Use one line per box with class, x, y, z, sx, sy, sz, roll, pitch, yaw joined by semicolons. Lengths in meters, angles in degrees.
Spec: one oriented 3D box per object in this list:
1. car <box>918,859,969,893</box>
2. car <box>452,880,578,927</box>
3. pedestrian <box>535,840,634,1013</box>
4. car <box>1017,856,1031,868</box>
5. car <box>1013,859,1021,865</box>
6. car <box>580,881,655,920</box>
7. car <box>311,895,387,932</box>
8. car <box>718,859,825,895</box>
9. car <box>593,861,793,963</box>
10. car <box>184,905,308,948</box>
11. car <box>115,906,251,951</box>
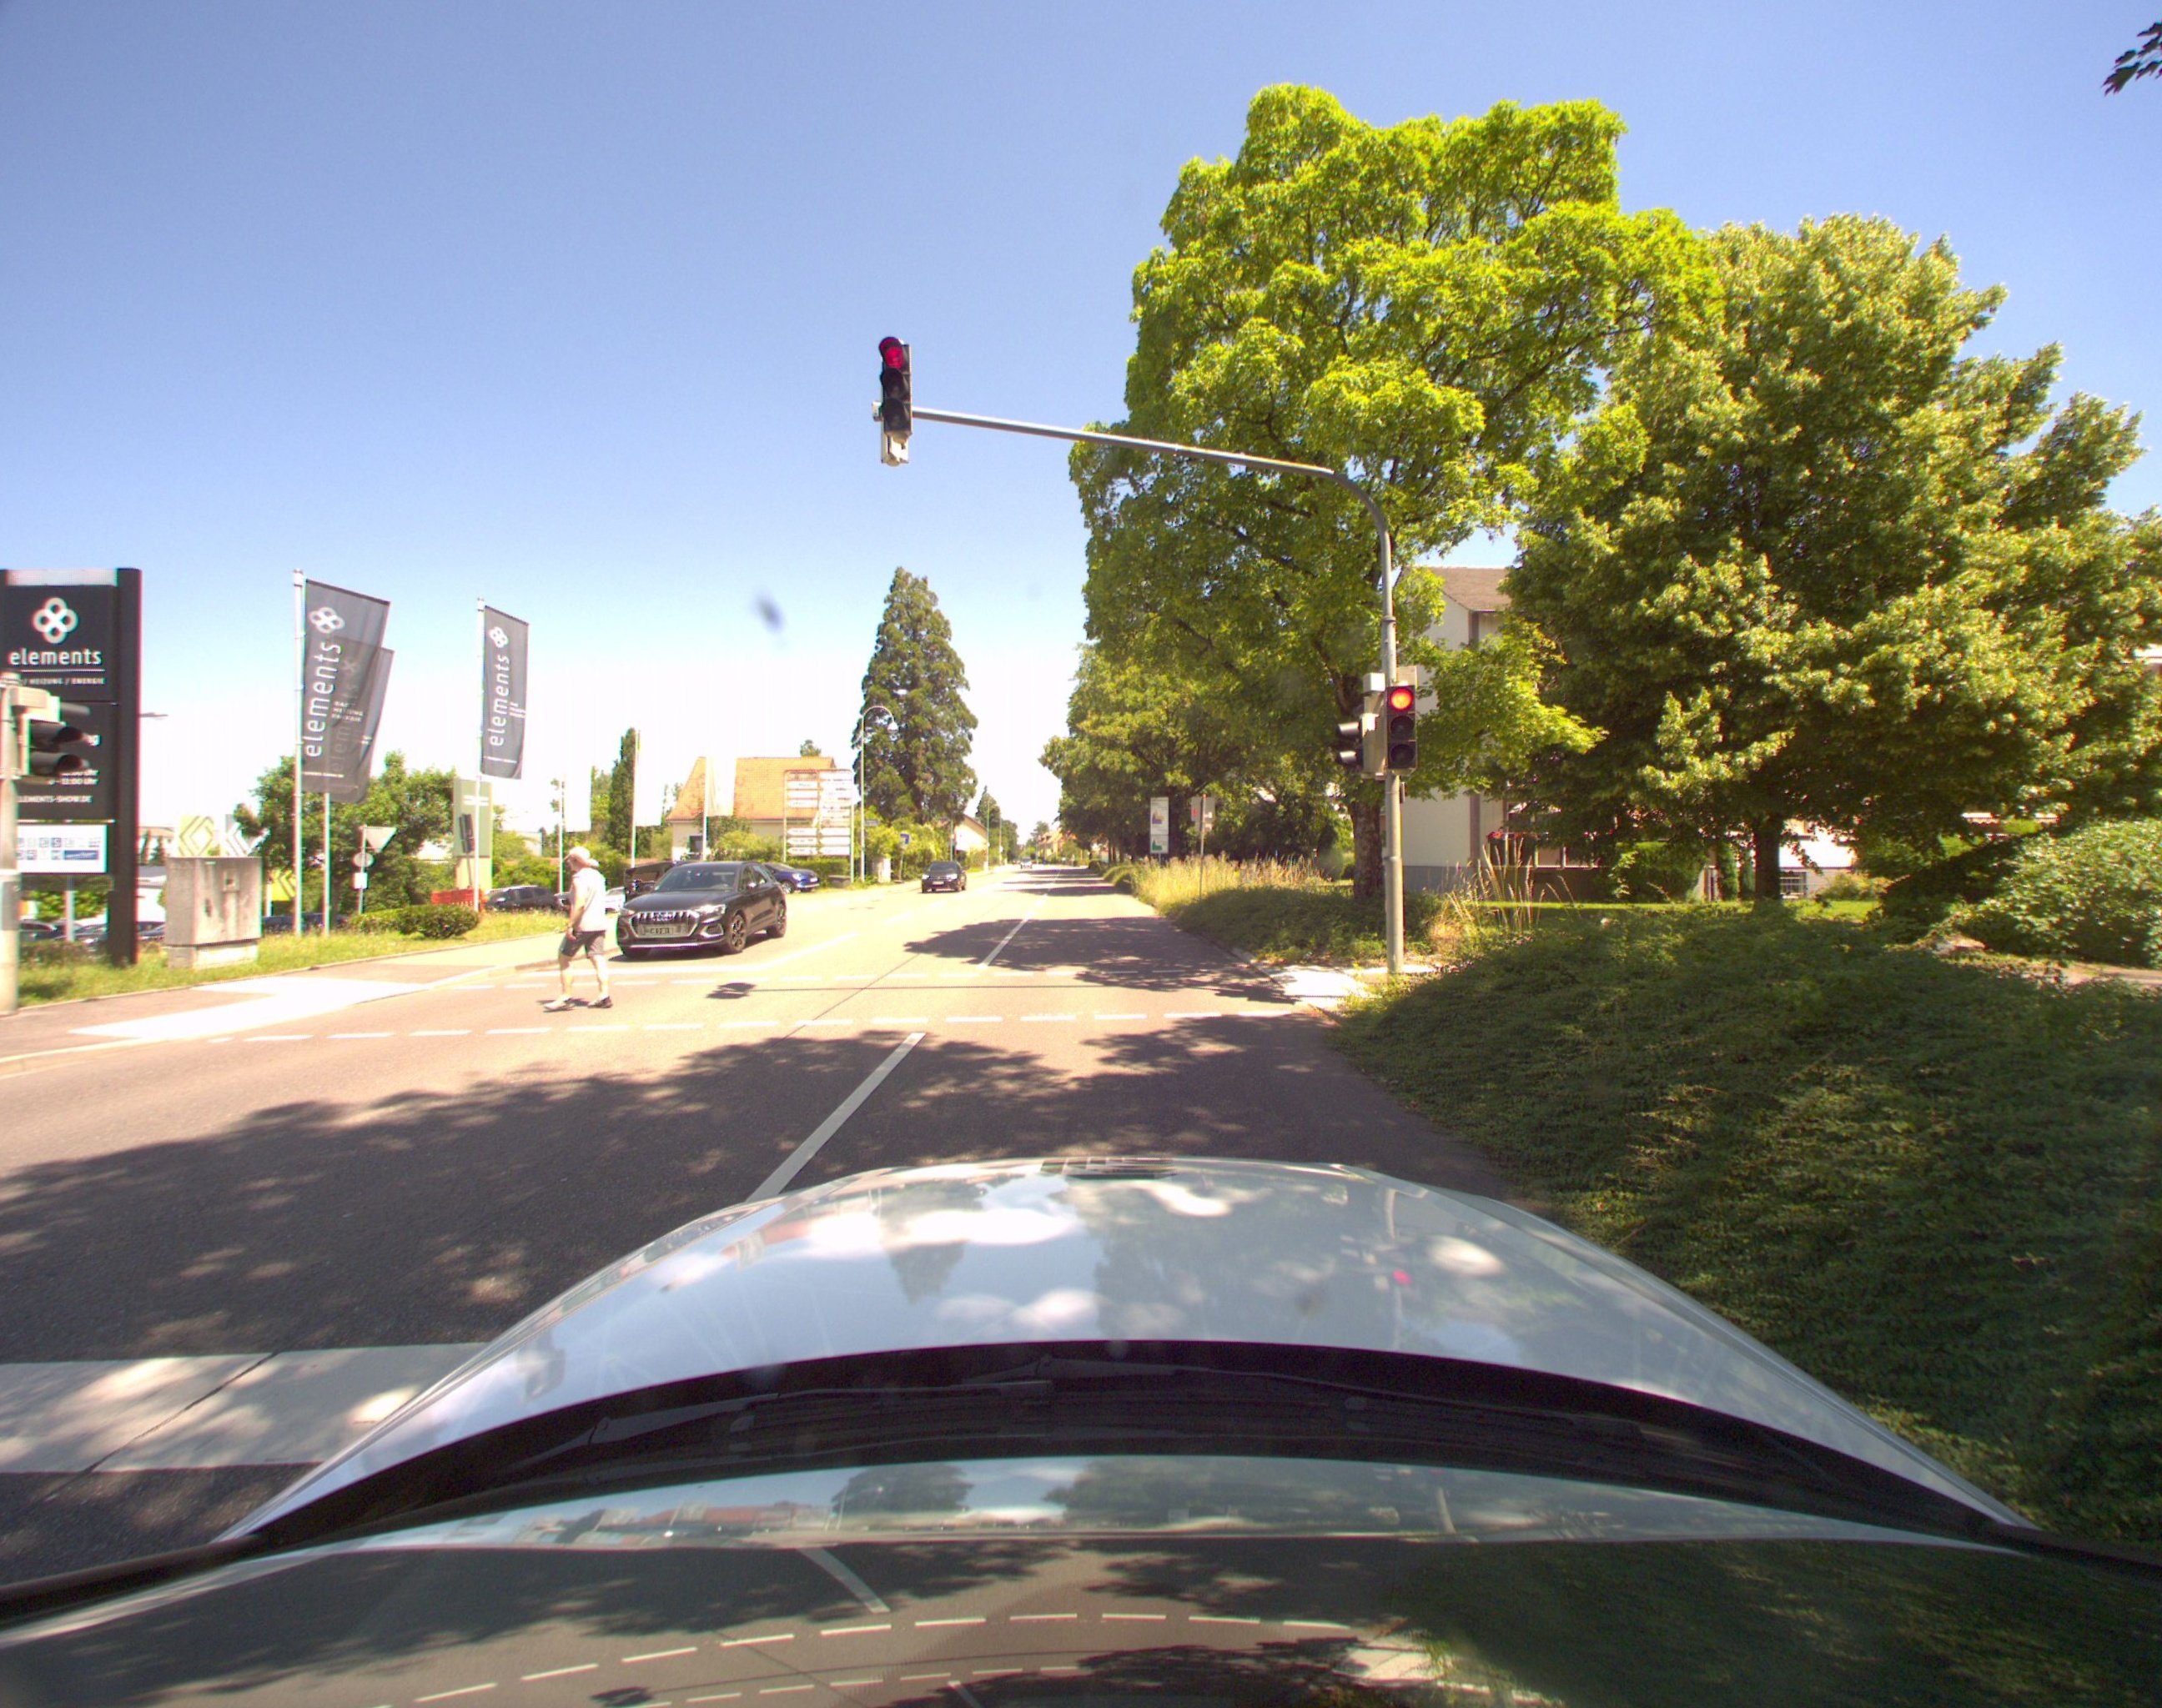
car;-6.590;1.012;39.339;1.864;1.507;4.049;-1;0;-2
car;-23.642;2.022;34.227;1.795;1.721;4.106;0;0;16
pedestrian;-5.313;0.740;8.729;0.538;1.761;0.706;-1;-1;28
car;-8.833;1.195;126.806;1.804;1.762;4.571;0;0;1
car;-16.694;2.095;211.582;1.817;1.552;3.997;-1;0;-2
car;-23.296;2.287;41.101;1.806;1.722;4.081;0;0;-6
car;-40.512;3.251;45.193;1.816;1.722;4.059;0;0;-22
car;-13.914;1.030;36.684;4.109;1.504;1.782;-1;0;10
car;-6.921;0.938;15.096;1.923;1.555;4.295;-1;0;-5
car;-34.381;2.946;33.687;1.648;1.415;3.853;-1;0;-11
car;-37.163;3.050;33.872;1.754;1.486;3.983;-1;0;-12
